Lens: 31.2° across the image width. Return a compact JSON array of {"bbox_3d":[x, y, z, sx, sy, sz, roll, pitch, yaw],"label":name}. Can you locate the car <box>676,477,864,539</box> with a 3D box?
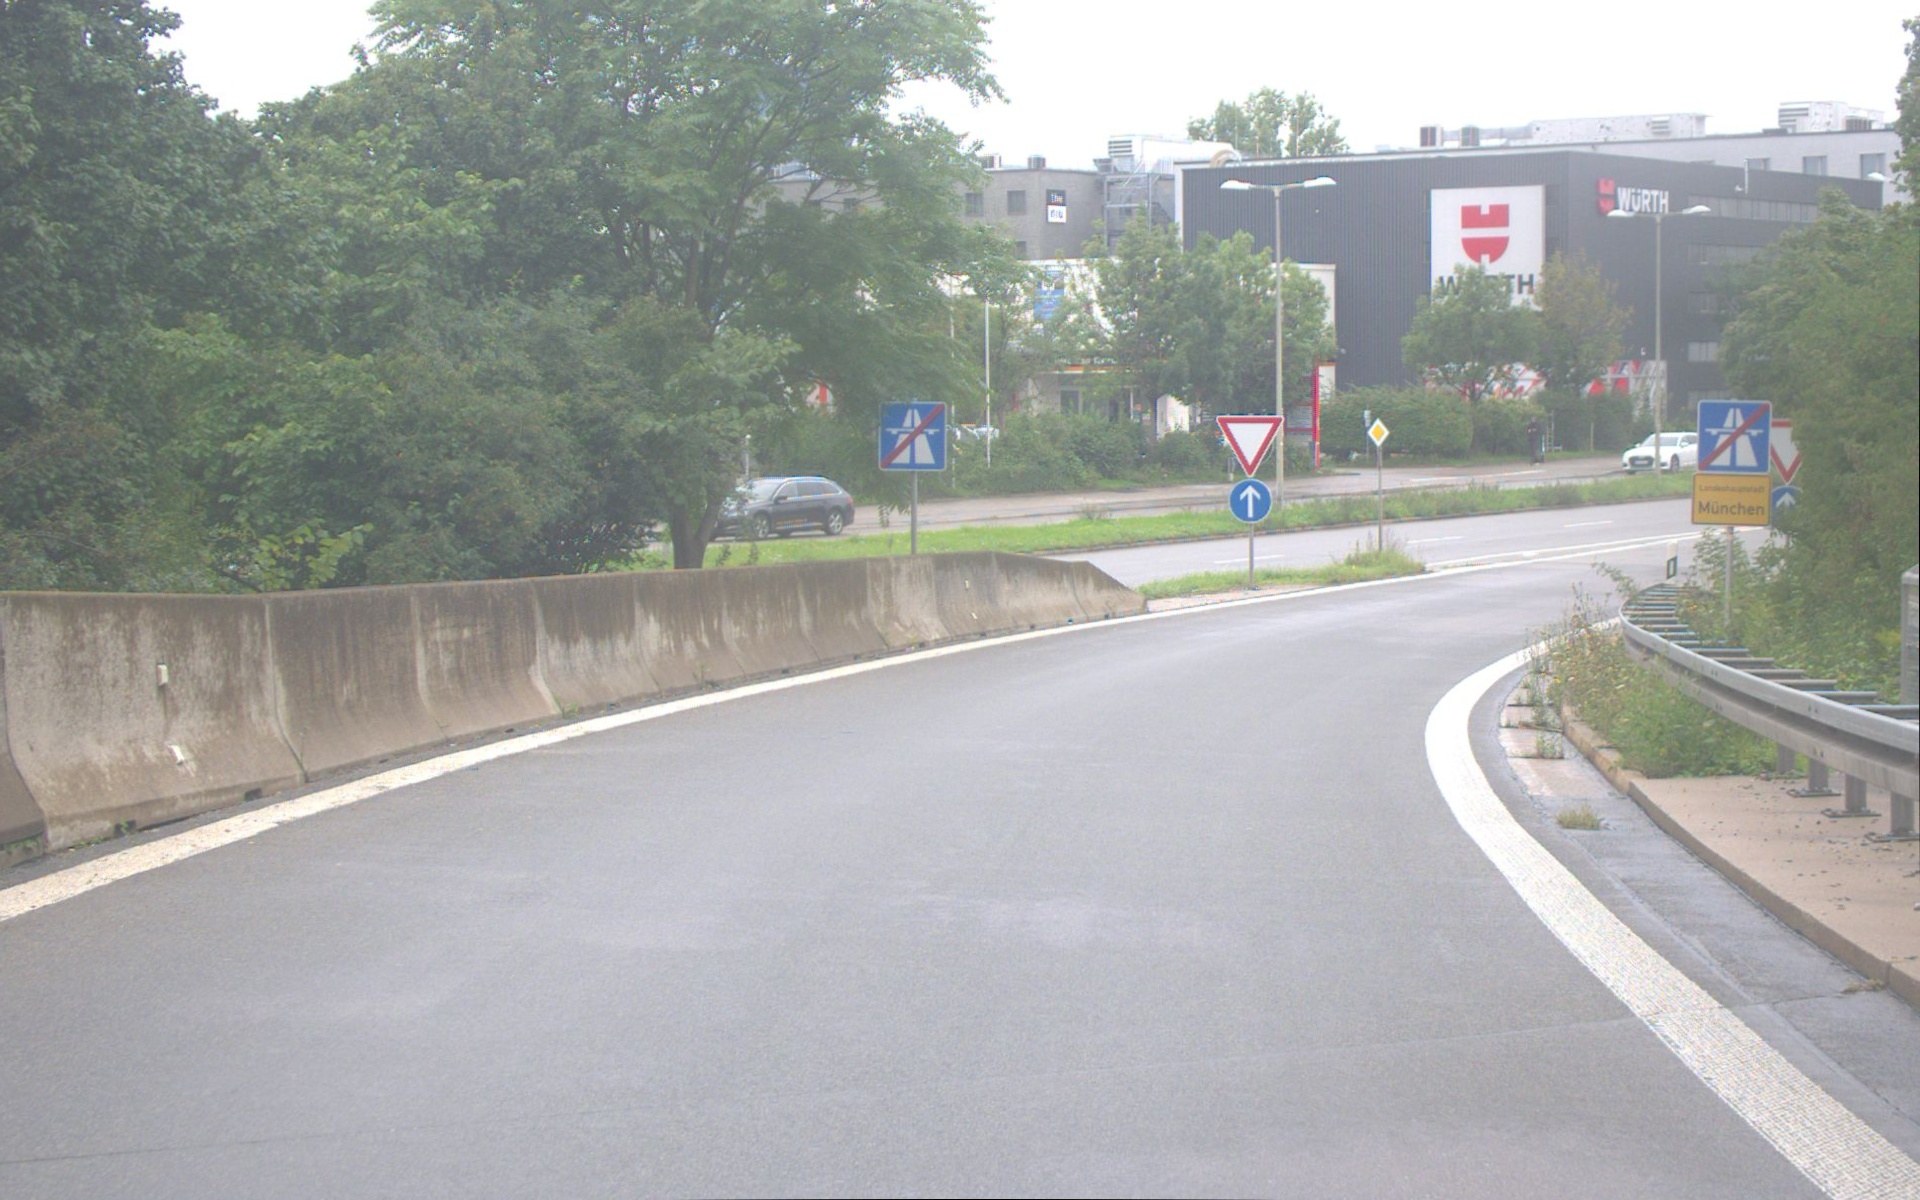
[{"bbox_3d":[-4.600,-2.259,83.847,1.973,1.392,4.807,1,3,36],"label":"car"}]

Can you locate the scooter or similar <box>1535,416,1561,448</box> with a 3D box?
[{"bbox_3d":[22.711,-6.491,132.717,0.446,1.223,1.385,2,5,33],"label":"scooter or similar"}]
